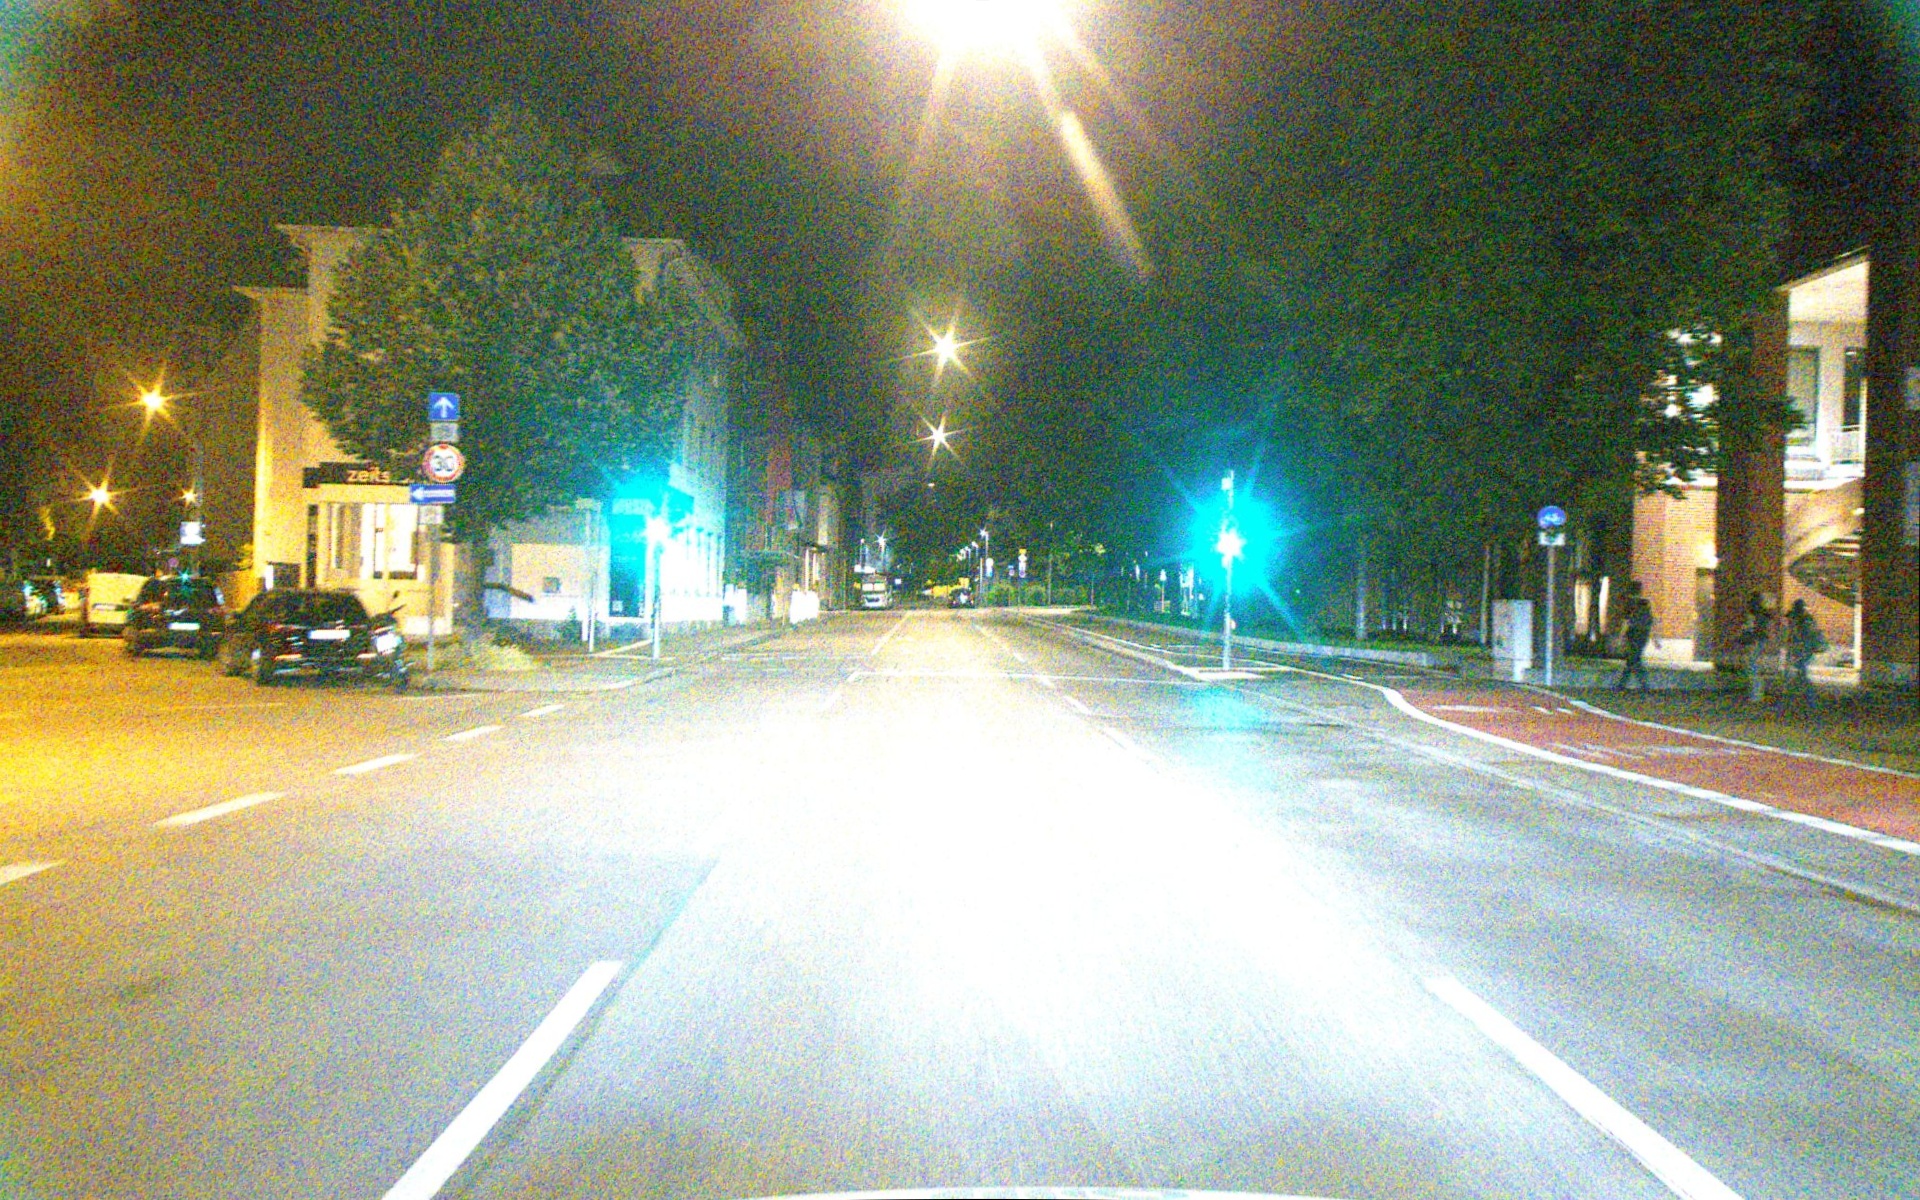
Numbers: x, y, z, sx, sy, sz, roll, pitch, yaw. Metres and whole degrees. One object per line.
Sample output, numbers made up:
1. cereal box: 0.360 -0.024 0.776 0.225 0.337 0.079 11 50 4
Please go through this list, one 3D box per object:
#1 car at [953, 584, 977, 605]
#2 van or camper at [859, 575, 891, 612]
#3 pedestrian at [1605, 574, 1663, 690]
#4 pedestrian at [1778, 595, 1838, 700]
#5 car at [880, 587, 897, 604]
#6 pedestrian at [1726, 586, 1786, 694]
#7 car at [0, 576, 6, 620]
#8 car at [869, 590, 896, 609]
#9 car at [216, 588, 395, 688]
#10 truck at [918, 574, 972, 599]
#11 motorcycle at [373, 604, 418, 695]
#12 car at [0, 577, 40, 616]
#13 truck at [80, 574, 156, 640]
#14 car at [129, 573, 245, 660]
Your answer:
1. car: 0.421 -0.409 131.982 1.845 1.631 4.107 -1 0 1
2. van or camper: -6.196 -0.493 121.564 2.114 2.580 6.224 -2 0 -2
3. pedestrian: 10.903 0.509 26.758 0.609 1.843 0.759 1 0 -1
4. pedestrian: 12.816 0.703 25.011 0.561 1.560 0.633 1 0 -1
5. car: -6.935 -0.441 160.714 1.643 1.594 4.103 0 0 -1
6. pedestrian: 12.570 0.625 26.128 0.608 1.667 0.679 1 0 -1
7. car: -42.096 -0.109 70.993 1.774 1.841 3.964 1 0 -27
8. car: -6.236 -0.053 132.419 1.804 1.533 4.734 0 0 -8
9. car: -10.570 0.540 26.511 1.868 1.449 4.677 0 0 -32
10. truck: -1.938 -1.706 209.633 6.643 2.894 1.998 1 0 -4
11. motorcycle: -7.953 0.668 23.345 0.563 1.200 2.022 0 0 -18
12. car: -44.353 -0.134 77.476 1.873 1.766 3.969 1 -1 -24
13. truck: -24.875 0.210 48.801 1.869 1.839 4.074 1 -1 -29
14. car: -16.472 0.330 35.126 1.893 1.673 4.071 3 -1 -29
